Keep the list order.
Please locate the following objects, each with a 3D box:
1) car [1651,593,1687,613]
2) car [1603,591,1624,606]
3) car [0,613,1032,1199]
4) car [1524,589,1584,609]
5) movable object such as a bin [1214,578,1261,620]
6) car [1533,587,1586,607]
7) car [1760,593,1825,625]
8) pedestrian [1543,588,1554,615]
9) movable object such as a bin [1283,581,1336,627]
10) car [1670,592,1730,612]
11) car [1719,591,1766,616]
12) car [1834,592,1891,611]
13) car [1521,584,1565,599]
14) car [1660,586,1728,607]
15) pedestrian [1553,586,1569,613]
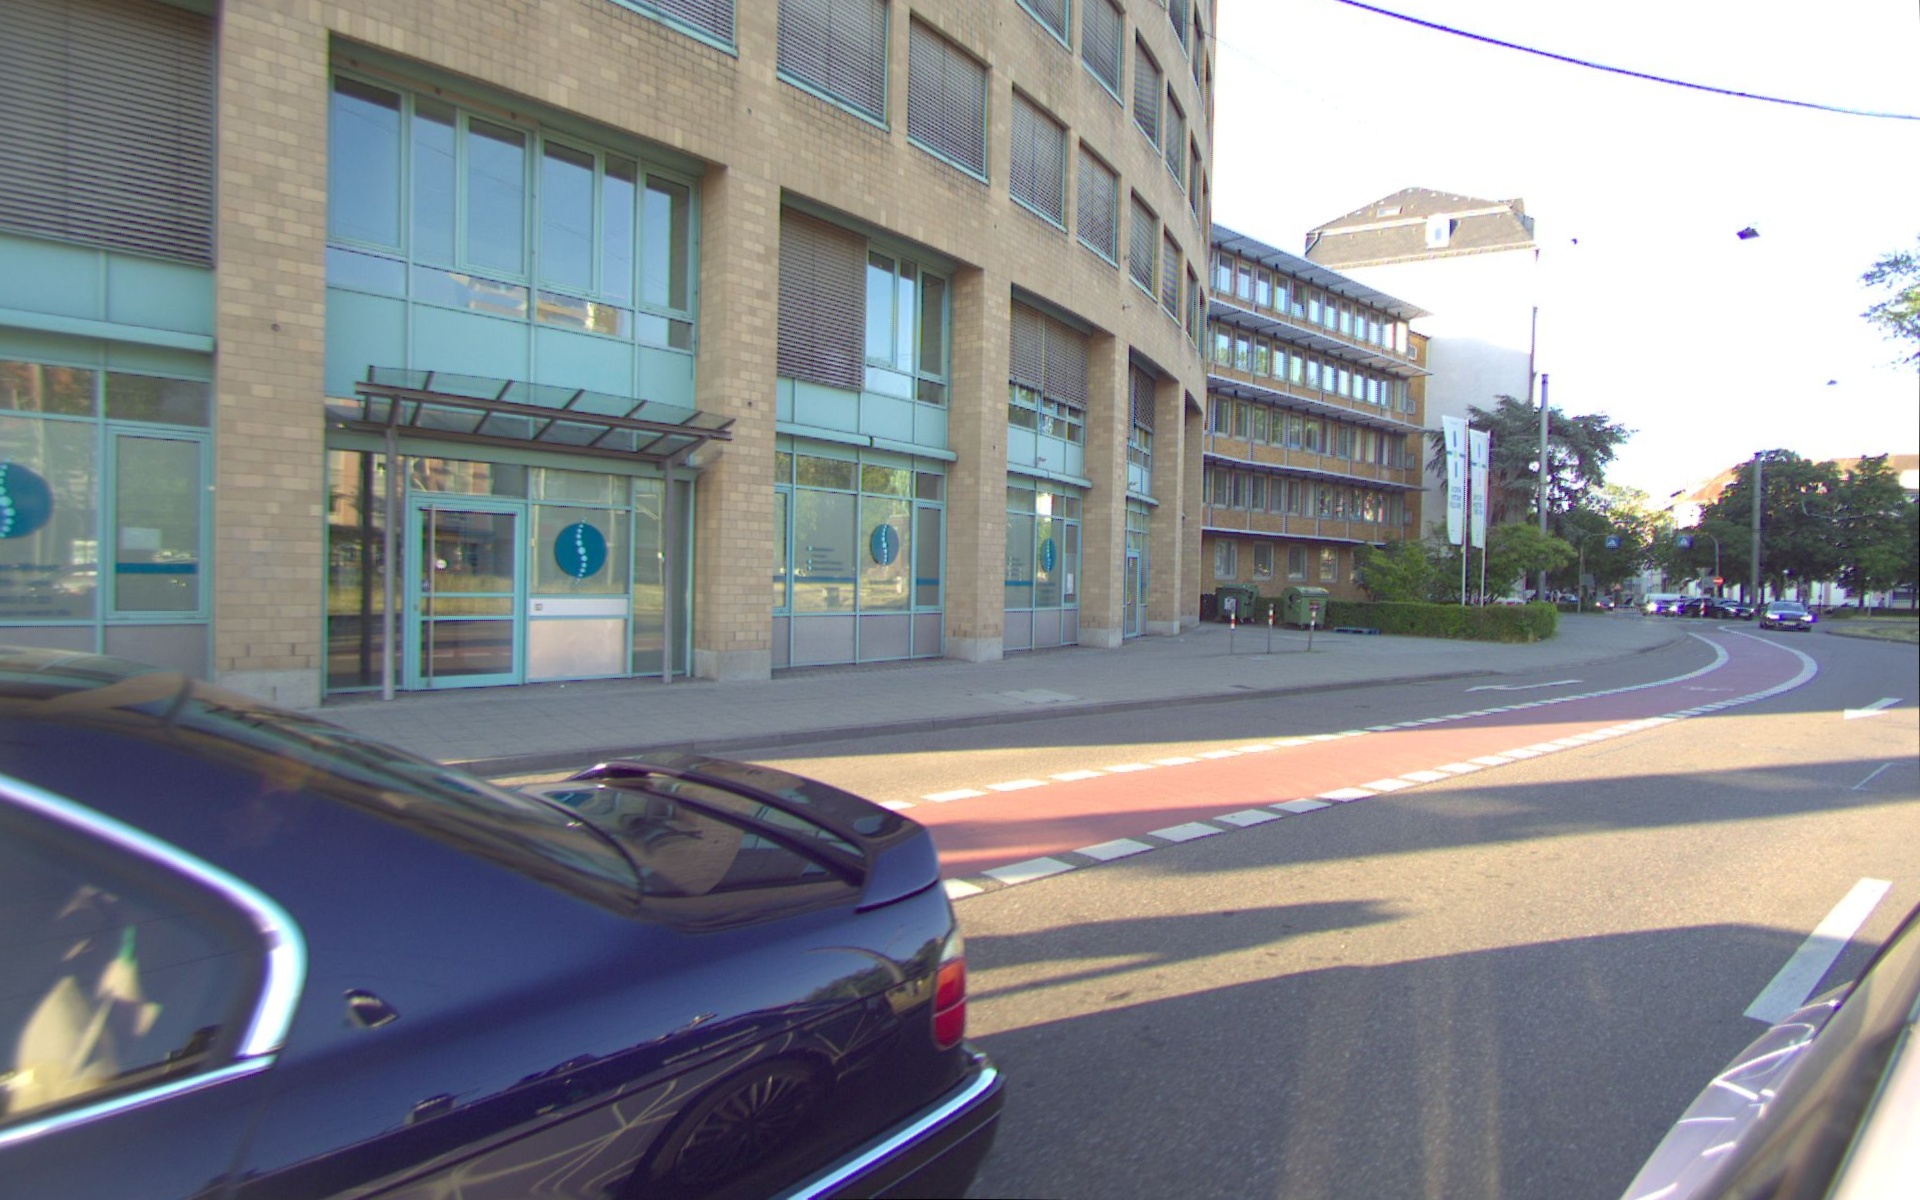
[{"bbox_3d":[54.522,0.236,77.901,1.806,1.501,4.092,3,1,30],"label":"car"},{"bbox_3d":[70.726,-0.188,109.514,1.809,1.501,4.083,2,0,35],"label":"car"},{"bbox_3d":[-2.195,0.714,0.907,4.560,1.371,1.833,1,0,-41],"label":"car"},{"bbox_3d":[51.566,-0.102,87.918,4.362,1.577,1.818,3,1,30],"label":"car"},{"bbox_3d":[9.939,-0.028,36.247,1.340,1.442,0.910,3,1,42],"label":"movable object such as a bin"},{"bbox_3d":[54.425,-0.259,91.907,4.035,1.589,1.818,3,1,31],"label":"car"},{"bbox_3d":[42.196,0.443,51.382,1.806,1.501,4.091,3,1,30],"label":"car"},{"bbox_3d":[38.465,0.113,66.183,0.573,1.730,0.713,2,0,31],"label":"pedestrian"},{"bbox_3d":[11.634,0.122,33.692,1.317,1.456,0.976,2,0,-22],"label":"movable object such as a bin"},{"bbox_3d":[64.848,0.143,88.688,4.055,1.571,1.969,3,1,43],"label":"car"},{"bbox_3d":[51.083,0.258,66.139,1.805,1.501,4.092,3,1,29],"label":"car"},{"bbox_3d":[89.786,0.150,100.735,1.672,1.746,4.007,2,1,-42],"label":"car"},{"bbox_3d":[69.412,-0.985,120.584,4.357,1.633,1.713,3,1,27],"label":"car"},{"bbox_3d":[73.176,-0.345,100.944,2.083,1.926,5.079,2,1,-39],"label":"car"},{"bbox_3d":[41.463,-0.058,69.785,0.805,1.814,0.593,2,0,-30],"label":"pedestrian"}]
